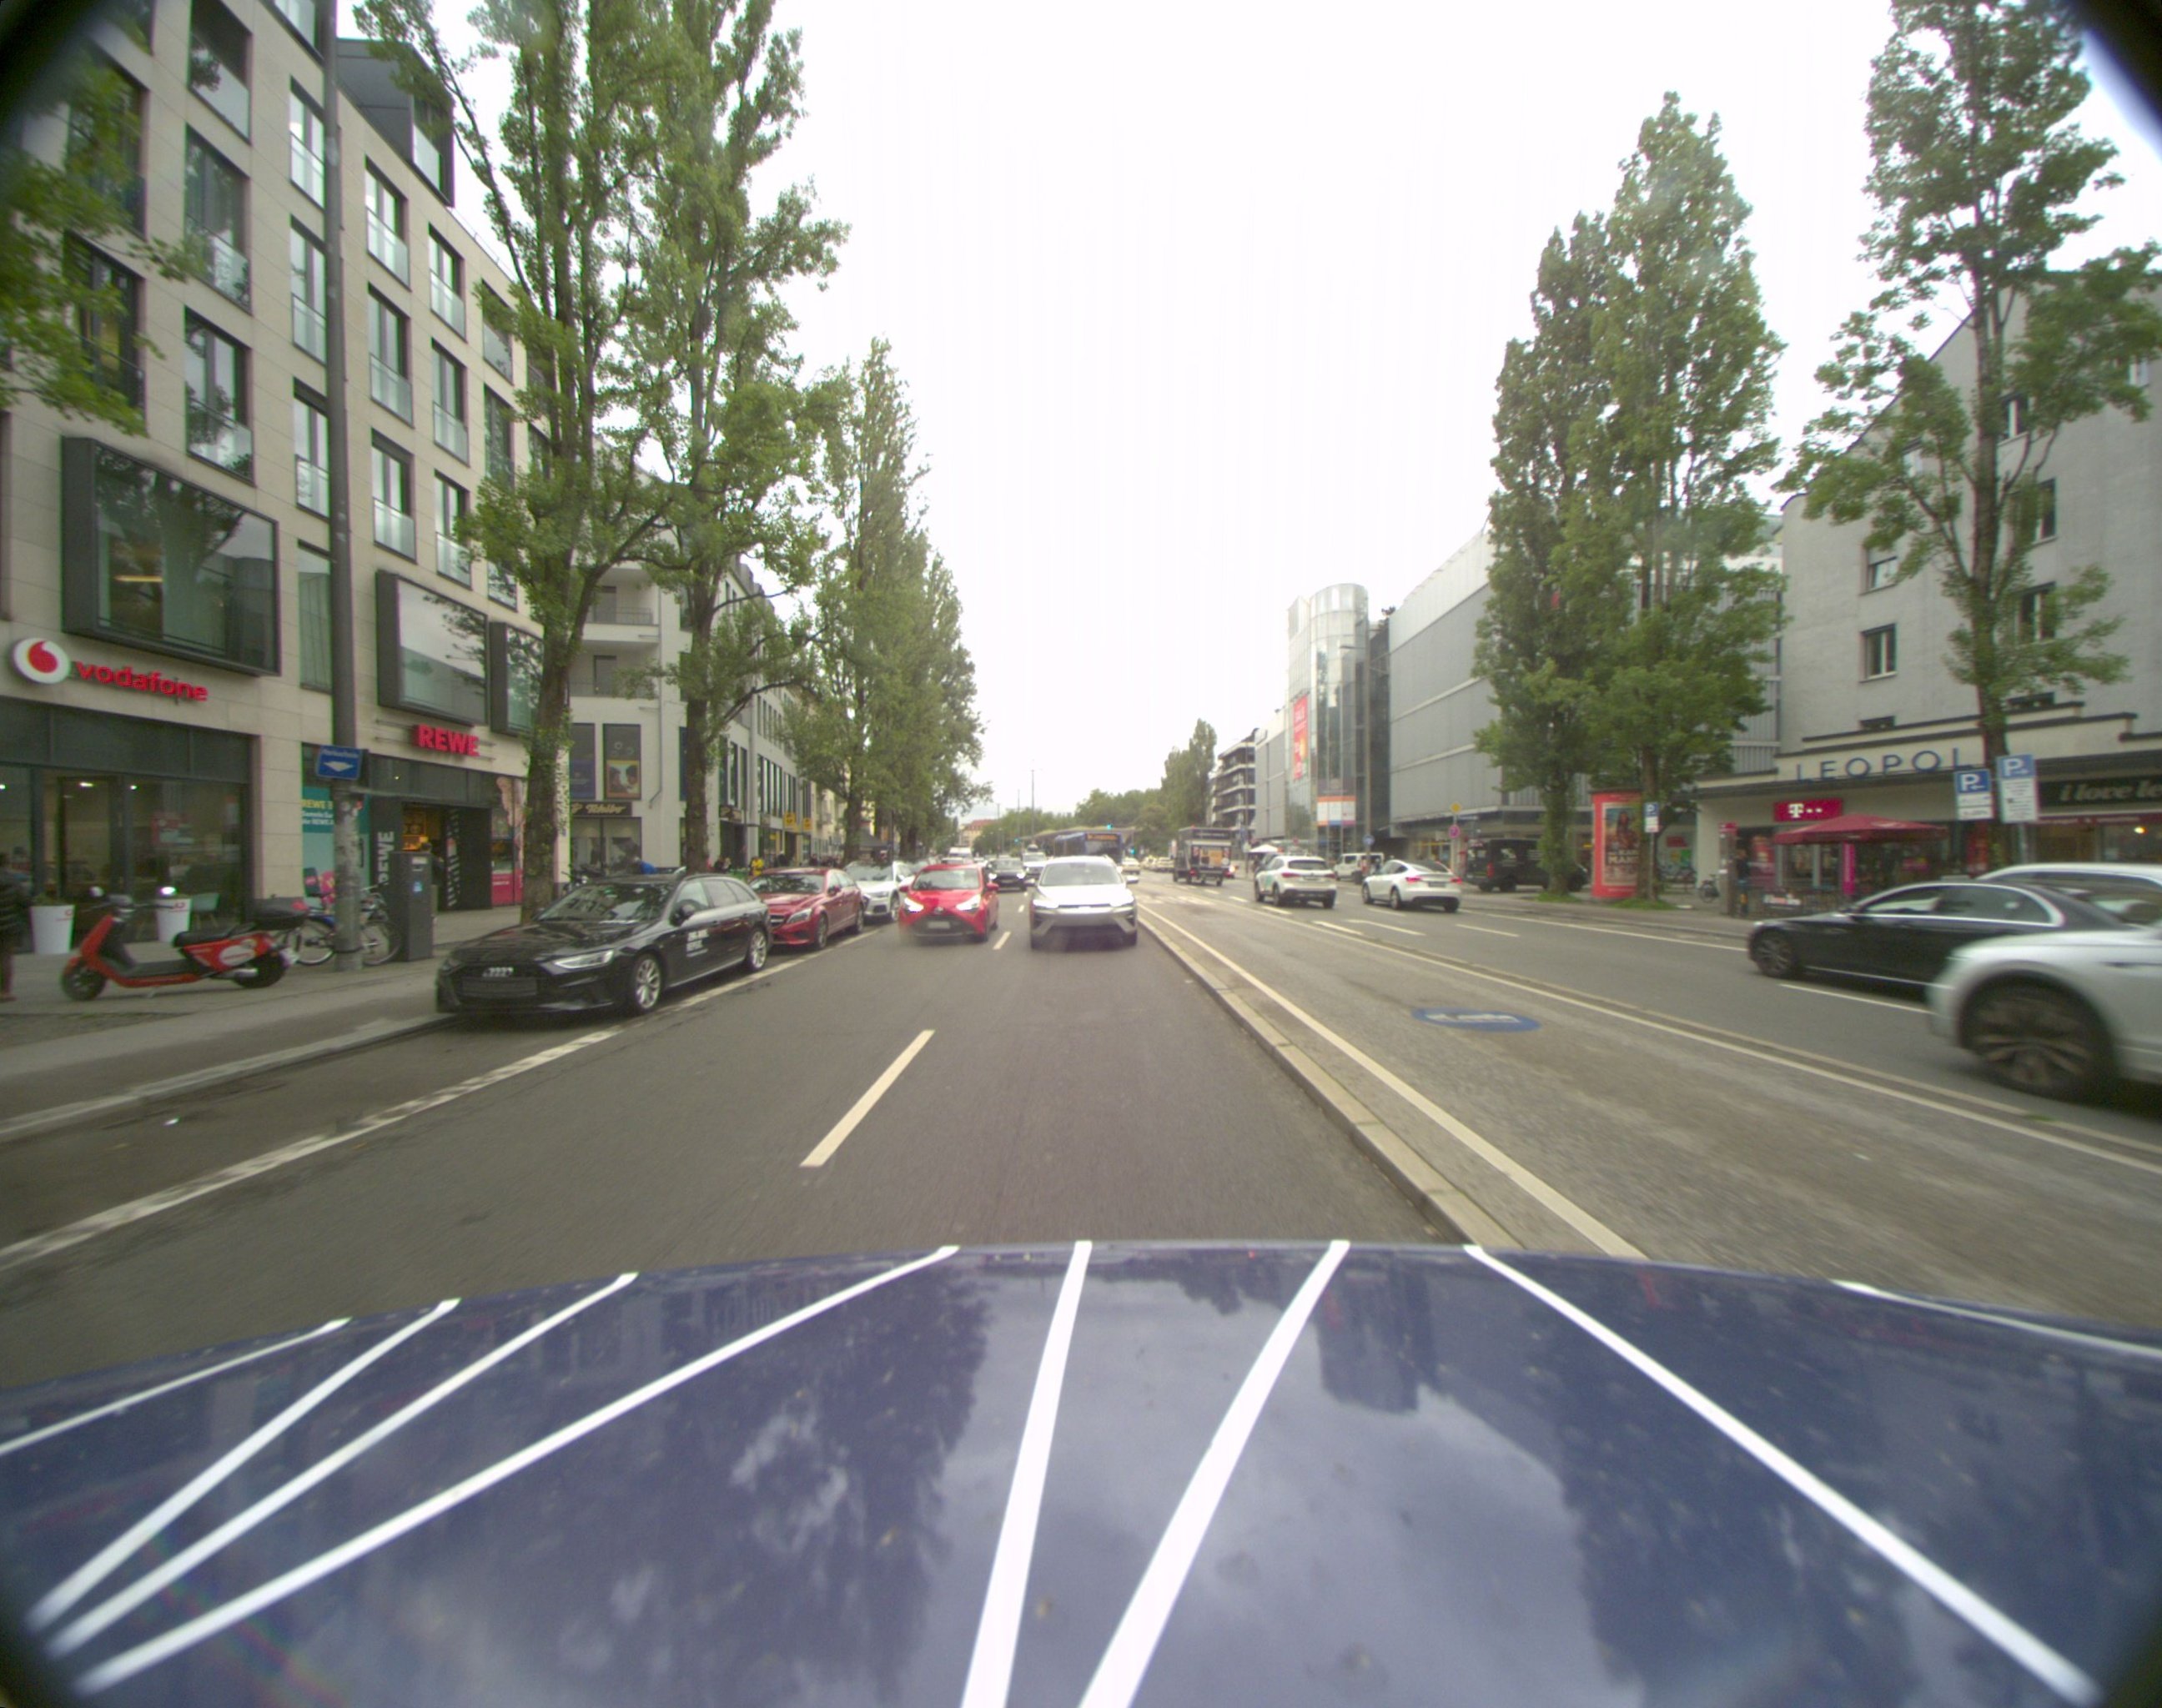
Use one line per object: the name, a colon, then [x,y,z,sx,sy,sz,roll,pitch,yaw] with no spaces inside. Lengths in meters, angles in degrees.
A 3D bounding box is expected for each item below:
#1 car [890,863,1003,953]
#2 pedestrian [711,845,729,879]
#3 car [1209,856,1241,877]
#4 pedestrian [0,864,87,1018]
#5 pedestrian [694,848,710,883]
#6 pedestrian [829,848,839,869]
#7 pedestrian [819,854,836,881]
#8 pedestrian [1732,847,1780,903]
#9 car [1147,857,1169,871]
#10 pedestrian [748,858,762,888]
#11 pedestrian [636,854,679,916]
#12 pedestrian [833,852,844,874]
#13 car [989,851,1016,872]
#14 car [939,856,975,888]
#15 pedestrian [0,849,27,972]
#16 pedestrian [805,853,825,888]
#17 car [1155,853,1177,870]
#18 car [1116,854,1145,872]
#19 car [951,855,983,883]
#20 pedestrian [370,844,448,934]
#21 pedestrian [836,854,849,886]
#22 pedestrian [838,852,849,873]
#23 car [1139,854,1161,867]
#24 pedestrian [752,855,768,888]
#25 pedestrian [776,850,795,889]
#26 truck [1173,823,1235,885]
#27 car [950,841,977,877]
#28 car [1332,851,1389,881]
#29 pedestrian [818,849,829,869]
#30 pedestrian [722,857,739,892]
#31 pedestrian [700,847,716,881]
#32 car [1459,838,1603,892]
car: [-2.543,0.974,15.123,1.669,1.438,3.595,-2,1,-2]
pedestrian: [-17.412,0.376,36.641,0.548,1.615,0.507,-1,1,10]
car: [11.162,0.928,59.171,1.860,1.461,4.984,2,0,5]
pedestrian: [-11.532,0.899,8.017,0.836,1.567,0.937,0,1,-5]
pedestrian: [-18.108,0.544,36.277,0.550,1.615,0.506,-3,2,-33]
pedestrian: [-19.141,0.372,58.904,0.693,1.639,0.797,0,0,-10]
pedestrian: [-15.256,0.788,45.727,0.802,1.627,1.023,0,0,-7]
pedestrian: [22.865,0.701,25.766,0.860,1.888,0.832,0,1,-6]
car: [8.907,1.164,88.069,1.951,1.531,4.847,0,0,-1]
pedestrian: [-17.113,0.986,39.918,0.566,1.567,0.675,0,1,-33]
pedestrian: [-11.287,0.822,20.259,0.792,1.610,0.613,1,0,16]
pedestrian: [-17.362,0.663,54.424,0.684,1.549,0.749,0,1,-8]
car: [-6.852,0.614,66.199,2.000,1.740,3.996,-2,1,-10]
car: [-6.906,0.959,42.640,1.732,1.676,4.405,-1,0,-6]
pedestrian: [-14.549,0.744,9.820,0.796,1.611,0.717,0,1,-5]
pedestrian: [-12.601,0.771,35.978,0.716,1.666,0.783,1,0,-6]
car: [9.148,0.812,82.030,1.890,1.688,4.383,1,0,1]
car: [4.592,0.841,71.517,1.999,1.579,5.193,2,0,-4]
car: [-7.947,1.012,53.294,1.935,1.794,4.777,-2,0,-6]
pedestrian: [-14.184,0.719,16.073,0.819,1.858,0.938,1,1,-1]
pedestrian: [-12.865,0.837,40.941,0.671,1.715,0.768,0,1,-17]
pedestrian: [-18.095,0.651,57.943,0.684,1.549,0.749,0,1,-8]
car: [8.631,0.809,95.282,1.592,1.602,4.472,0,0,-11]
pedestrian: [-16.148,0.860,38.232,0.491,1.625,0.569,0,1,4]
pedestrian: [-14.913,0.777,38.361,0.648,1.913,0.925,1,0,-6]
truck: [7.048,0.001,44.515,2.297,3.303,7.156,1,0,-1]
car: [-9.630,0.364,62.228,2.000,2.726,5.549,-2,1,-8]
car: [19.123,0.796,52.258,1.999,2.002,5.112,0,0,-1]
pedestrian: [-20.122,0.390,59.471,0.693,1.576,0.772,0,0,-10]
pedestrian: [-15.766,0.912,34.190,0.491,1.558,0.569,0,1,4]
pedestrian: [-17.610,0.470,35.880,0.549,1.615,0.506,-2,2,-16]
car: [22.230,0.533,37.673,6.063,2.590,2.175,0,0,-7]
